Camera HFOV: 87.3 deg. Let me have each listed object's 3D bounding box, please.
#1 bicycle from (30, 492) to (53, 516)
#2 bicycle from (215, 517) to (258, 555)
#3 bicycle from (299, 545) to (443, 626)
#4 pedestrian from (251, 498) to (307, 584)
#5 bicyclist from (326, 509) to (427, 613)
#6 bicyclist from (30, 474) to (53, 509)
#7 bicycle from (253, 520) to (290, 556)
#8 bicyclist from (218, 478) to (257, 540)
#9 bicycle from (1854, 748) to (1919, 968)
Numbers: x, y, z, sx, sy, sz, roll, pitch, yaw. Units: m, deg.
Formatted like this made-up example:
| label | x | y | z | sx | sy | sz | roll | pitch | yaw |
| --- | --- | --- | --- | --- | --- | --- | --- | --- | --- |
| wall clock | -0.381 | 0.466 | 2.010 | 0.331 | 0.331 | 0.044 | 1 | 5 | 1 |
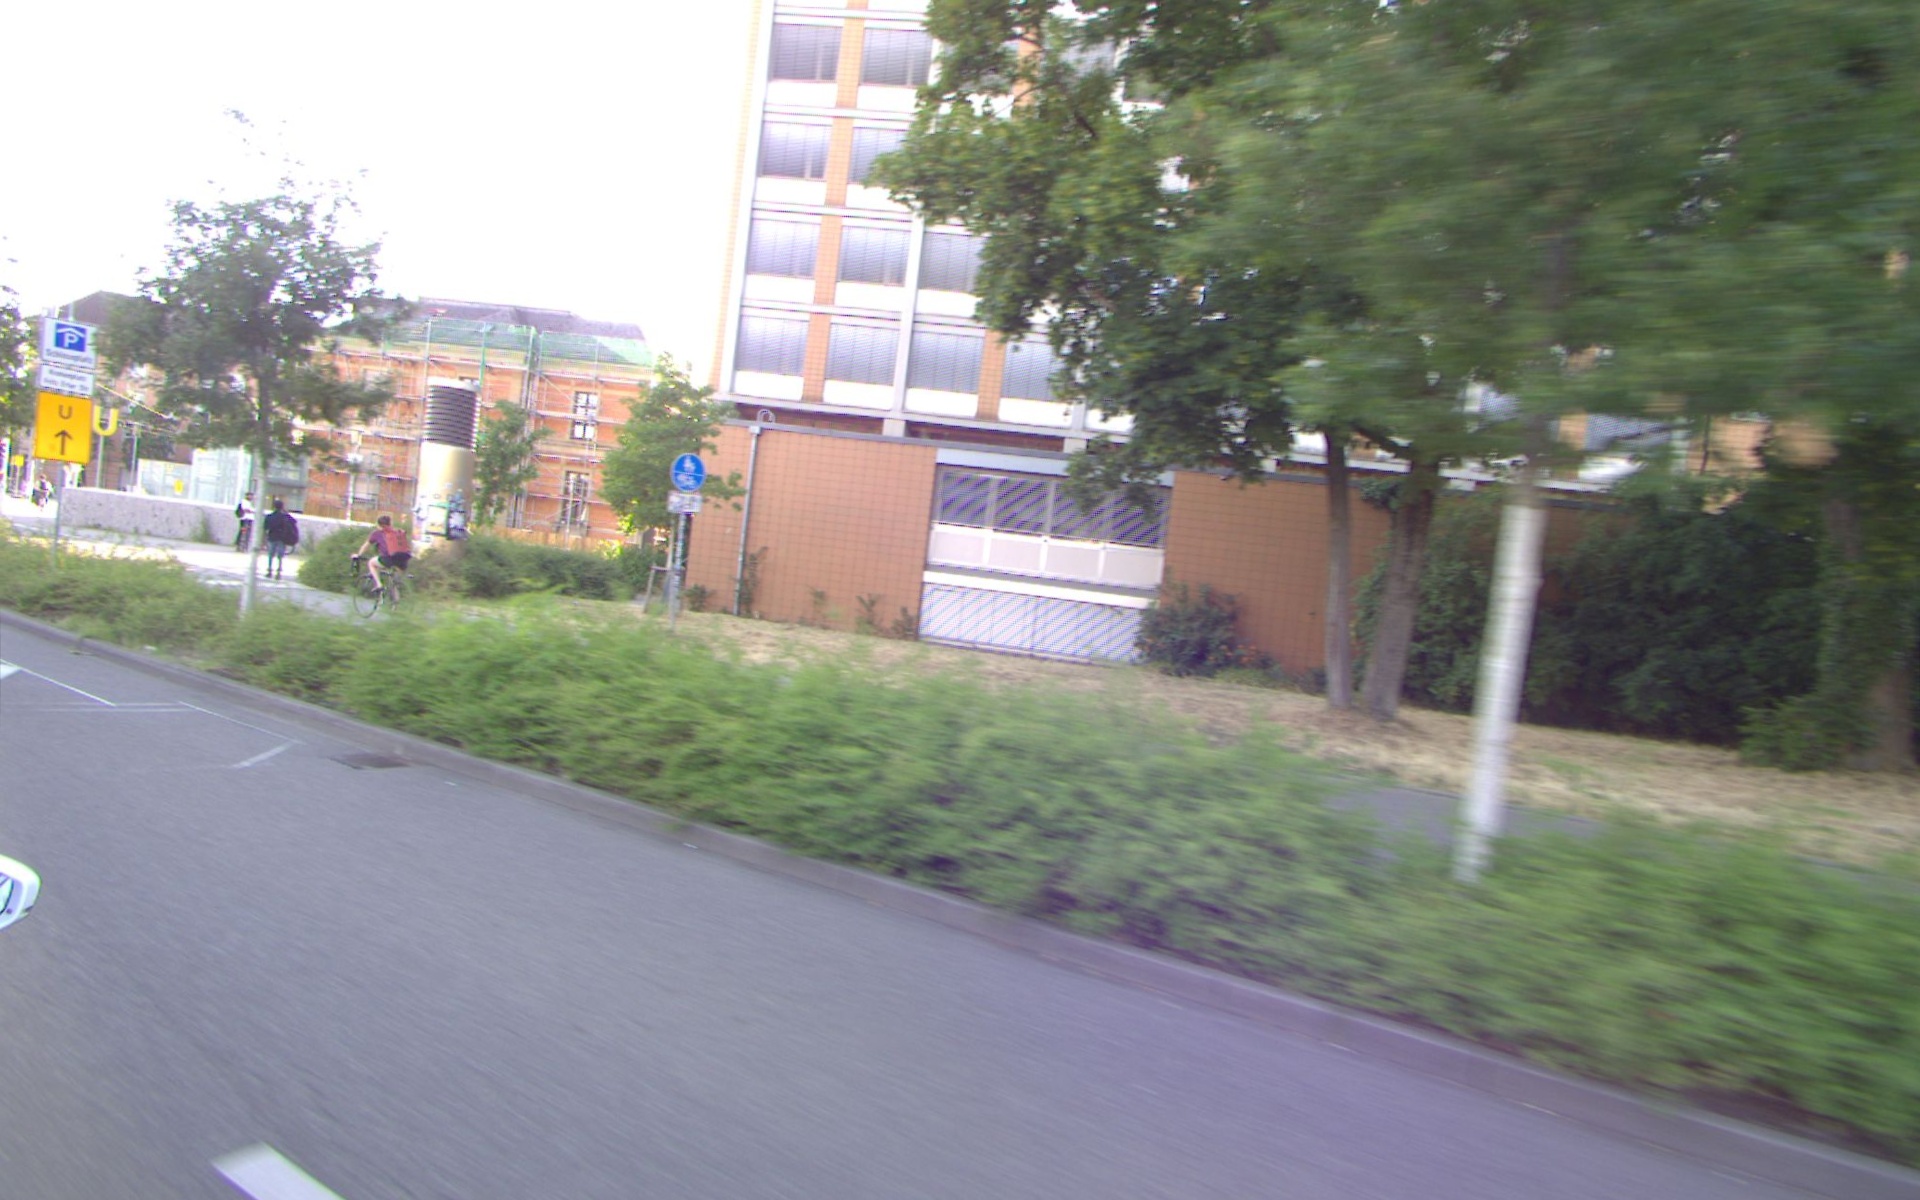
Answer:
| label | x | y | z | sx | sy | sz | roll | pitch | yaw |
| --- | --- | --- | --- | --- | --- | --- | --- | --- | --- |
| bicycle | -45.540 | -4.767 | 49.859 | 0.786 | 1.052 | 1.939 | 4 | 2 | -43 |
| bicycle | -22.328 | -1.985 | 31.018 | 0.786 | 1.052 | 1.939 | 4 | 2 | -43 |
| bicycle | -8.795 | -0.227 | 14.992 | 2.210 | 0.964 | 0.721 | 6 | -1 | 28 |
| pedestrian | -14.230 | -1.227 | 21.035 | 0.801 | 1.679 | 0.782 | 7 | 0 | -36 |
| bicyclist | -8.668 | -0.576 | 14.947 | 1.057 | 1.401 | 0.721 | 6 | -1 | 28 |
| bicyclist | -45.433 | -5.336 | 49.743 | 0.786 | 1.614 | 0.935 | 3 | 2 | -43 |
| bicycle | -21.795 | -1.957 | 31.864 | 0.620 | 1.052 | 1.950 | 4 | 1 | -26 |
| bicyclist | -22.226 | -2.788 | 30.949 | 0.783 | 1.810 | 0.883 | 3 | 3 | -43 |
| bicycle | 6.487 | 1.634 | 5.491 | 2.258 | 1.172 | 0.776 | 7 | 4 | 40 |
